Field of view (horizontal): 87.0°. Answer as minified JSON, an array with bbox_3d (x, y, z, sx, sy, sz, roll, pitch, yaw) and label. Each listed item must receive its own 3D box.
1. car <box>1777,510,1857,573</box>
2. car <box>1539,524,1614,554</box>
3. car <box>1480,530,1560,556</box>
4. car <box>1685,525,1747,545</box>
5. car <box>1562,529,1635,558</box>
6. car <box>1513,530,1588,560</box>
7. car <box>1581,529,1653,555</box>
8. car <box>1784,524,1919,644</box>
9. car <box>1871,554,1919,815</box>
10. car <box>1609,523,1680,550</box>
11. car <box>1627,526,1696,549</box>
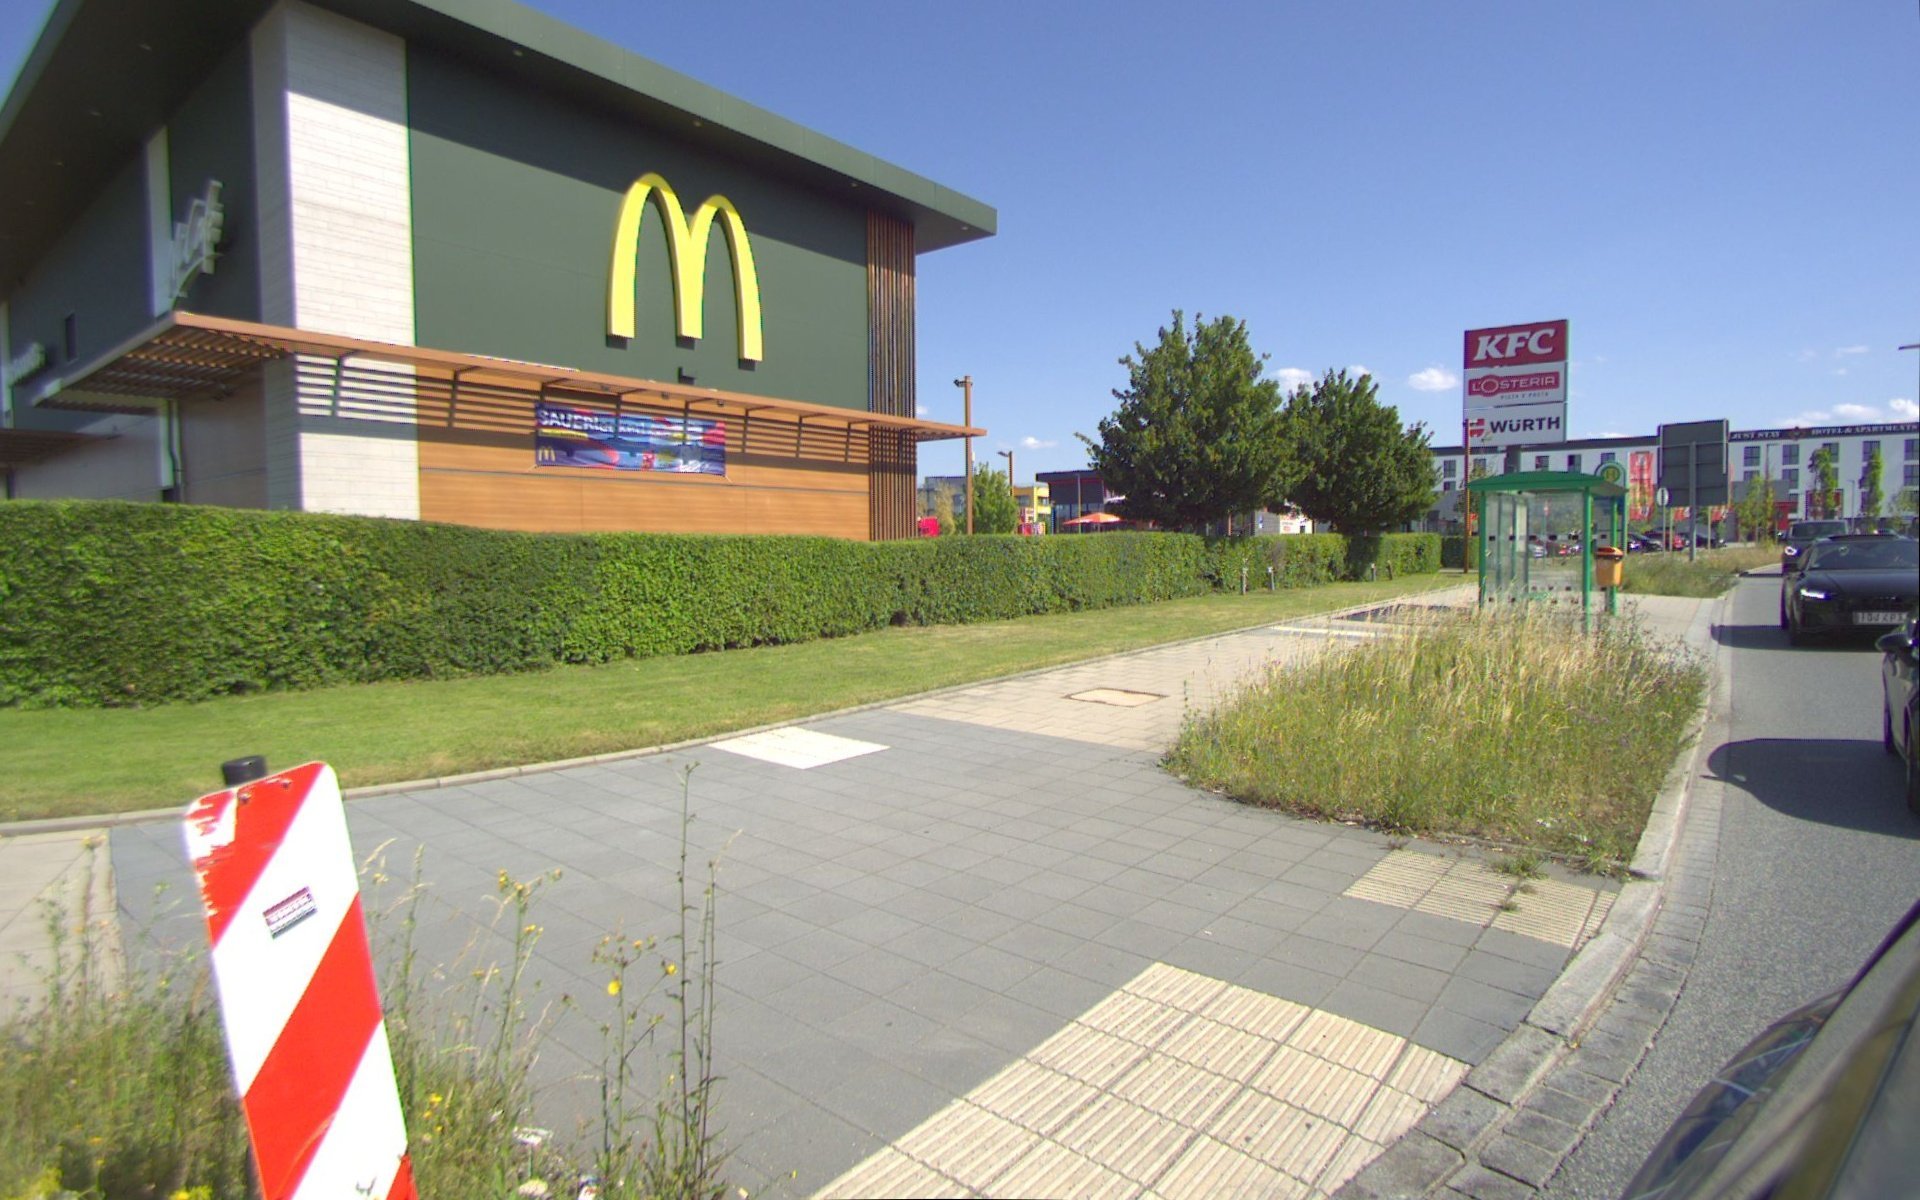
[{"bbox_3d":[31.554,-2.168,37.258,2.072,2.073,4.615,-2,2,41],"label":"car"},{"bbox_3d":[44.268,-4.355,72.747,1.898,2.038,4.186,-3,3,-37],"label":"car"},{"bbox_3d":[37.822,-3.844,68.425,1.902,1.672,4.433,-3,4,-44],"label":"car"},{"bbox_3d":[62.492,-5.366,83.702,1.725,1.639,3.824,-3,4,-37],"label":"car"},{"bbox_3d":[47.258,-4.182,74.939,1.898,2.038,4.187,-3,3,-36],"label":"car"},{"bbox_3d":[41.516,-3.863,71.248,1.897,2.038,4.188,-3,3,-35],"label":"car"},{"bbox_3d":[49.382,-4.338,76.152,1.768,1.880,4.190,-2,3,-32],"label":"car"},{"bbox_3d":[14.508,-0.322,16.223,1.855,1.709,3.943,-2,2,41],"label":"car"},{"bbox_3d":[7.188,0.436,6.421,1.854,1.486,3.945,-1,2,39],"label":"car"},{"bbox_3d":[53.459,-4.935,79.091,1.899,2.038,4.185,-3,4,-38],"label":"car"},{"bbox_3d":[55.917,-4.996,80.718,1.789,1.783,4.190,-2,3,-33],"label":"car"}]
